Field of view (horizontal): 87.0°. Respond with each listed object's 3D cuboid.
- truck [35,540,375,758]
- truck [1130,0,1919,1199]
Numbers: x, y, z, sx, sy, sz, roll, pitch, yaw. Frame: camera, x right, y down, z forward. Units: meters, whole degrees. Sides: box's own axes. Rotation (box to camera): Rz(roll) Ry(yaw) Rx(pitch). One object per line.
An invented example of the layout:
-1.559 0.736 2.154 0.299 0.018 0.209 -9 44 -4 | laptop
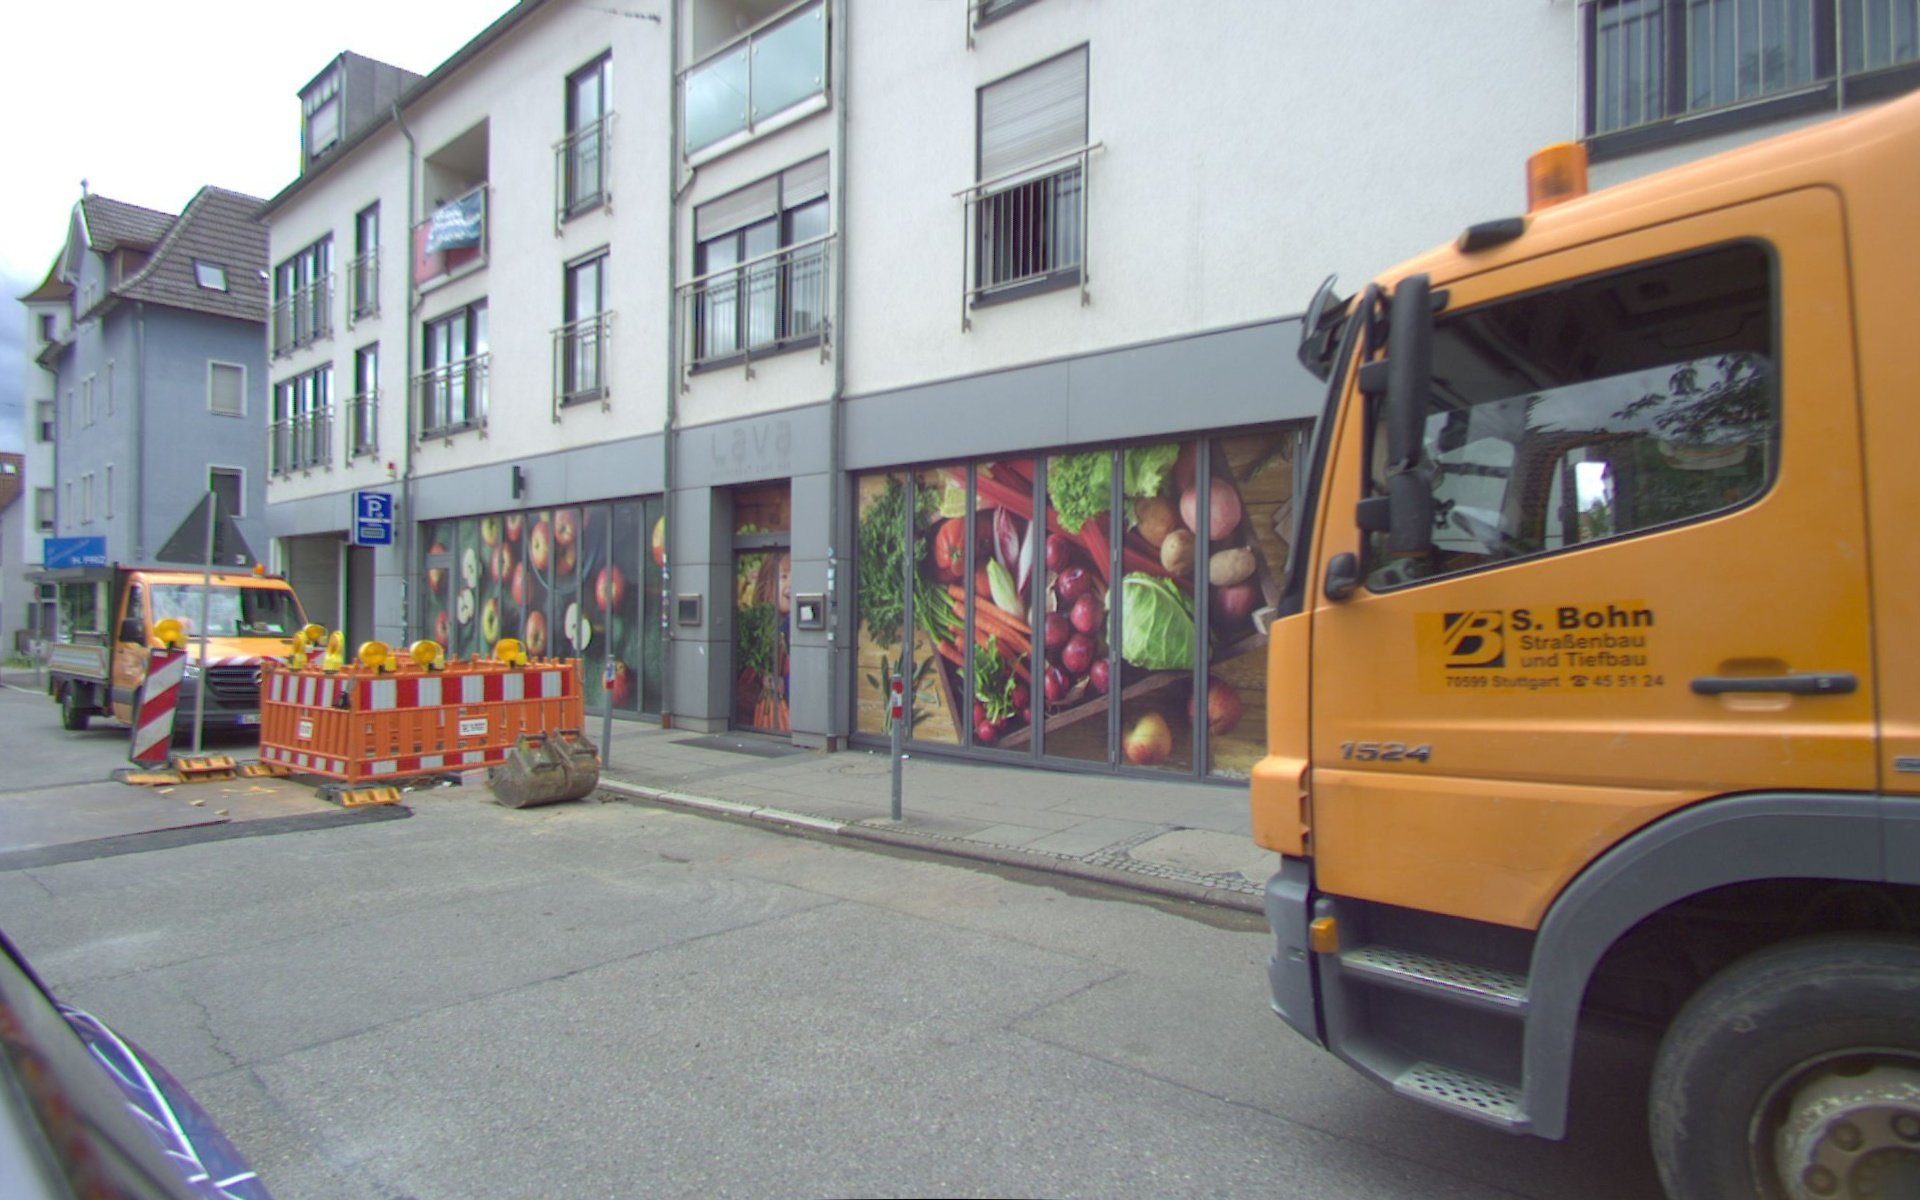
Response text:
-10.950 0.676 14.454 6.300 2.485 2.389 -2 -3 39 | truck
3.912 0.091 1.531 6.847 2.746 2.701 -2 -2 43 | truck
